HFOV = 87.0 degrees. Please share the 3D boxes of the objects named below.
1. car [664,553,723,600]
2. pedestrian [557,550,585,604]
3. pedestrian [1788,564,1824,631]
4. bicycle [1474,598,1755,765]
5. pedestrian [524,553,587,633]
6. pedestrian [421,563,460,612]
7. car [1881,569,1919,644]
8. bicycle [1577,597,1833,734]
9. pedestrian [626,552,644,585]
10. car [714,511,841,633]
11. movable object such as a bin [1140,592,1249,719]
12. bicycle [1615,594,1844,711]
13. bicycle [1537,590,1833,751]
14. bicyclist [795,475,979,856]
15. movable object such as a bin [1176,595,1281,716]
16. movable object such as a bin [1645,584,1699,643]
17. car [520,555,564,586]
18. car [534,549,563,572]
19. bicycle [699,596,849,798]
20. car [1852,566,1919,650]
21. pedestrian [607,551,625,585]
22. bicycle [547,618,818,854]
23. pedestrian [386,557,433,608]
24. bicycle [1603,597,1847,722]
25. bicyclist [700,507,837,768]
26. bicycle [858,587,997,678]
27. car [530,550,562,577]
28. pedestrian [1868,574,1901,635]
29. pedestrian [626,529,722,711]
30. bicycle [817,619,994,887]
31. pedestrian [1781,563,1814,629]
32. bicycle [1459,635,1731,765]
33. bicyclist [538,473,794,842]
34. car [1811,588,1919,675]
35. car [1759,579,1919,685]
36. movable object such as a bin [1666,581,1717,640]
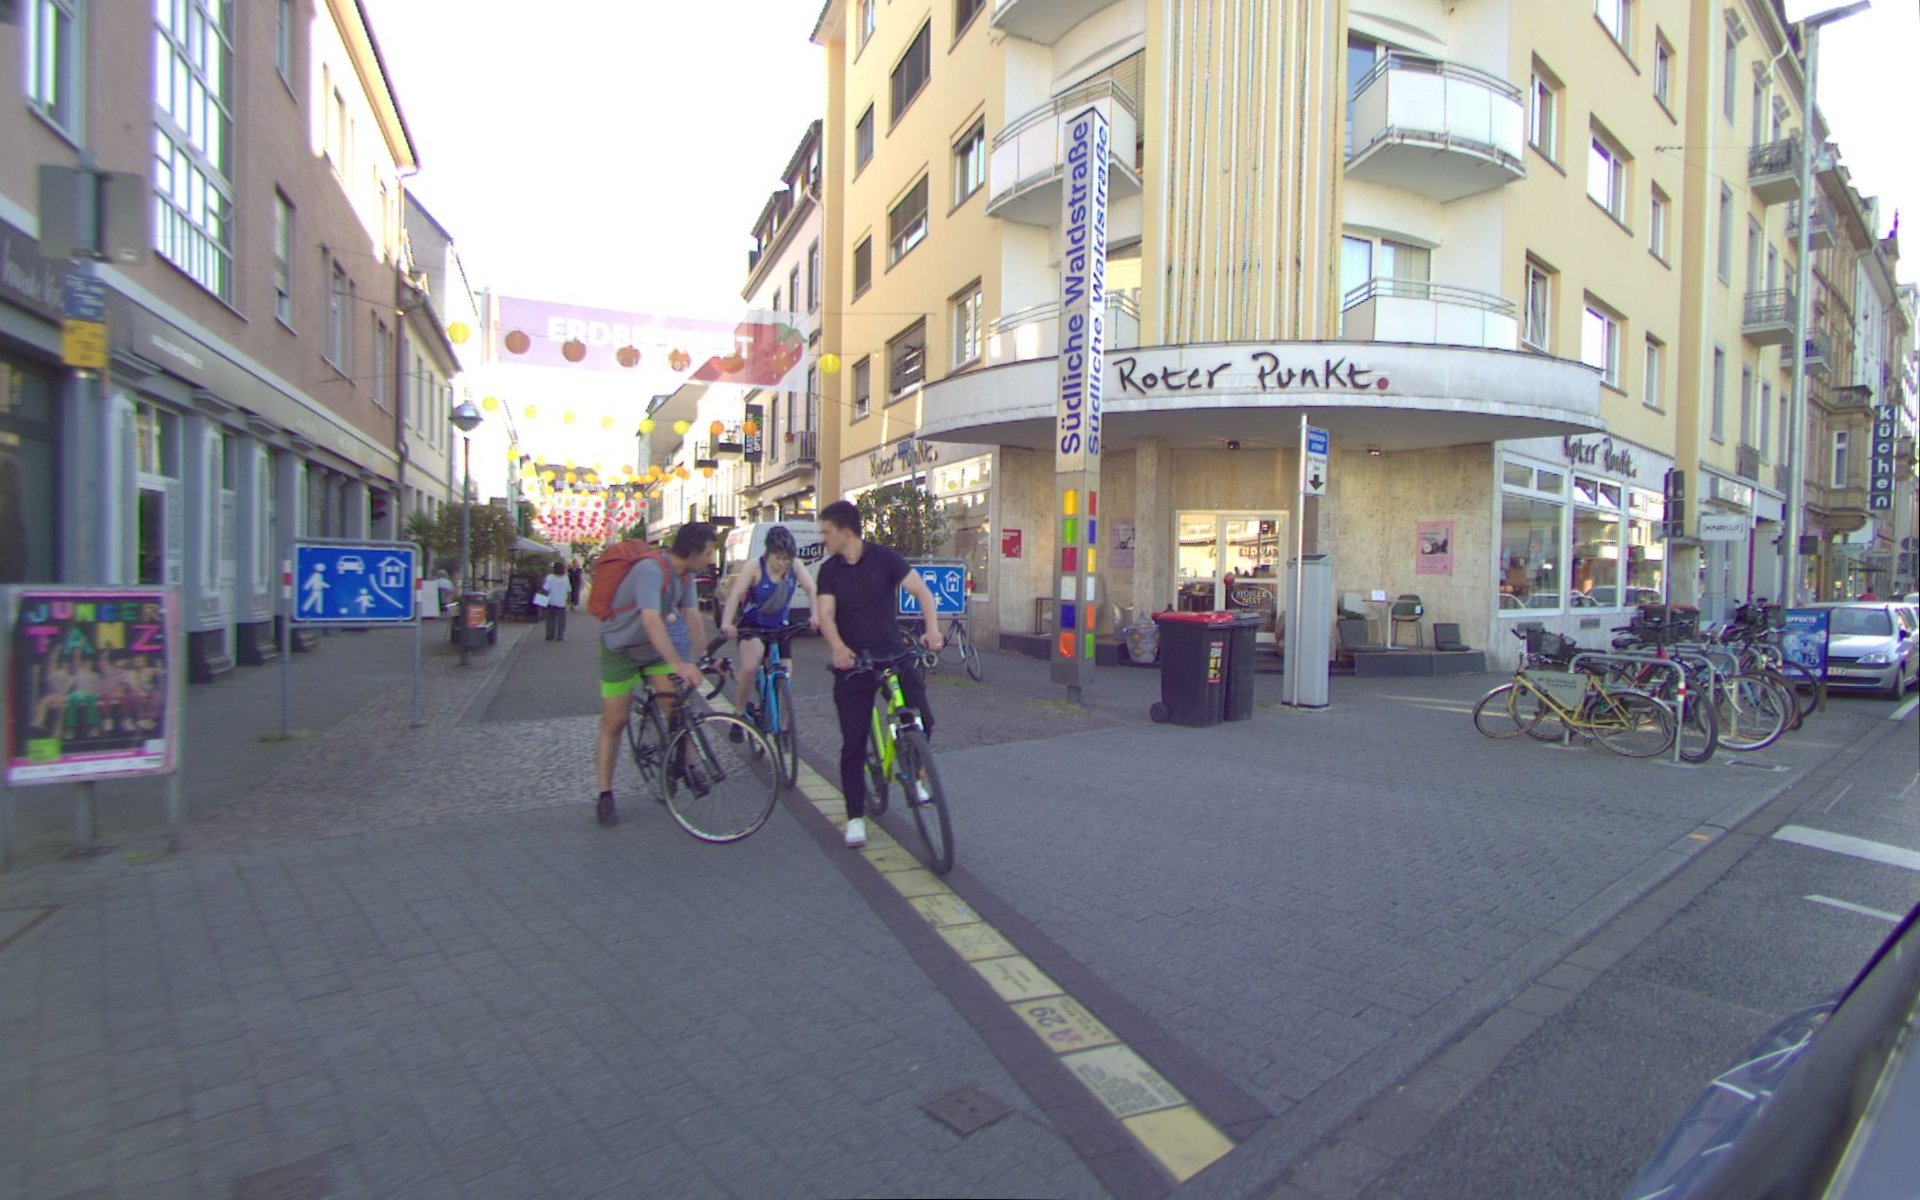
[{"bbox_3d":[-10.116,-0.917,38.253,1.860,1.660,4.125,1,2,-19],"label":"car"},{"bbox_3d":[-12.563,-0.740,32.672,0.796,1.701,0.672,1,1,-22],"label":"pedestrian"},{"bbox_3d":[25.043,-0.081,29.951,0.693,1.930,0.892,3,2,45],"label":"pedestrian"},{"bbox_3d":[5.775,0.644,9.004,1.940,1.227,0.919,3,3,43],"label":"bicycle"},{"bbox_3d":[-7.909,-0.158,19.767,1.089,1.498,1.086,-1,2,-25],"label":"pedestrian"},{"bbox_3d":[-13.383,-0.331,26.083,0.802,1.207,1.131,1,2,-23],"label":"pedestrian"},{"bbox_3d":[26.229,0.165,27.252,1.992,1.901,3.940,3,2,41],"label":"car"},{"bbox_3d":[7.549,0.604,10.345,0.742,1.171,1.961,0,3,-41],"label":"bicycle"},{"bbox_3d":[-16.560,-1.610,51.604,0.796,1.701,0.672,1,1,-22],"label":"pedestrian"},{"bbox_3d":[-4.310,-0.675,23.289,2.026,2.498,4.707,-1,2,-21],"label":"car"},{"bbox_3d":[2.244,0.505,9.710,0.610,1.126,0.809,-1,2,-43],"label":"movable object such as a bin"},{"bbox_3d":[9.129,0.567,12.090,0.671,1.196,2.048,0,3,-41],"label":"bicycle"},{"bbox_3d":[6.688,0.579,9.438,2.137,1.259,0.699,4,3,44],"label":"bicycle"},{"bbox_3d":[-0.414,0.277,5.156,0.711,1.706,1.135,1,2,-15],"label":"bicyclist"},{"bbox_3d":[2.686,0.526,10.158,0.610,1.126,0.809,-1,2,-43],"label":"movable object such as a bin"},{"bbox_3d":[14.879,0.273,21.140,0.944,1.175,0.702,0,2,-42],"label":"movable object such as a bin"},{"bbox_3d":[-22.140,-1.609,53.506,1.746,1.537,4.007,-1,3,-28],"label":"car"},{"bbox_3d":[-32.594,-3.134,80.227,1.958,1.785,4.612,1,2,-21],"label":"car"},{"bbox_3d":[-1.331,0.567,6.919,0.718,1.110,1.925,1,2,-19],"label":"bicycle"},{"bbox_3d":[21.717,0.151,22.890,4.130,1.756,1.995,-1,3,-45],"label":"car"},{"bbox_3d":[-17.438,-1.616,51.275,0.796,1.701,0.672,1,1,-22],"label":"pedestrian"},{"bbox_3d":[-1.584,0.653,5.571,1.815,1.006,0.556,3,2,43],"label":"bicycle"},{"bbox_3d":[-14.113,-0.452,25.946,0.814,1.266,0.763,3,2,36],"label":"pedestrian"},{"bbox_3d":[8.451,0.602,11.270,0.703,1.164,2.026,0,3,-41],"label":"bicycle"},{"bbox_3d":[-1.313,0.212,6.813,0.711,1.603,1.033,1,2,-21],"label":"bicyclist"},{"bbox_3d":[-0.416,0.399,13.137,1.714,1.101,0.562,0,2,-26],"label":"bicycle"},{"bbox_3d":[-29.188,-2.610,71.440,1.958,1.785,4.259,1,2,-21],"label":"car"},{"bbox_3d":[29.925,0.135,32.760,0.693,1.930,0.892,3,2,45],"label":"pedestrian"},{"bbox_3d":[-2.752,0.176,9.805,0.751,1.679,0.817,1,1,-5],"label":"pedestrian"},{"bbox_3d":[-0.366,0.685,5.382,0.548,1.032,1.920,1,3,-14],"label":"bicycle"},{"bbox_3d":[25.377,-0.129,30.678,0.671,1.977,0.605,3,2,45],"label":"pedestrian"},{"bbox_3d":[5.366,0.795,8.627,1.842,0.841,0.730,4,3,43],"label":"bicycle"},{"bbox_3d":[-1.587,0.252,5.478,1.131,1.783,0.746,2,2,29],"label":"bicyclist"},{"bbox_3d":[17.488,0.516,19.177,1.738,1.443,3.935,3,3,45],"label":"car"},{"bbox_3d":[14.138,0.416,15.946,3.930,1.415,1.692,-1,2,-41],"label":"car"},{"bbox_3d":[16.146,0.219,22.330,0.944,1.254,0.702,0,2,-42],"label":"movable object such as a bin"}]
